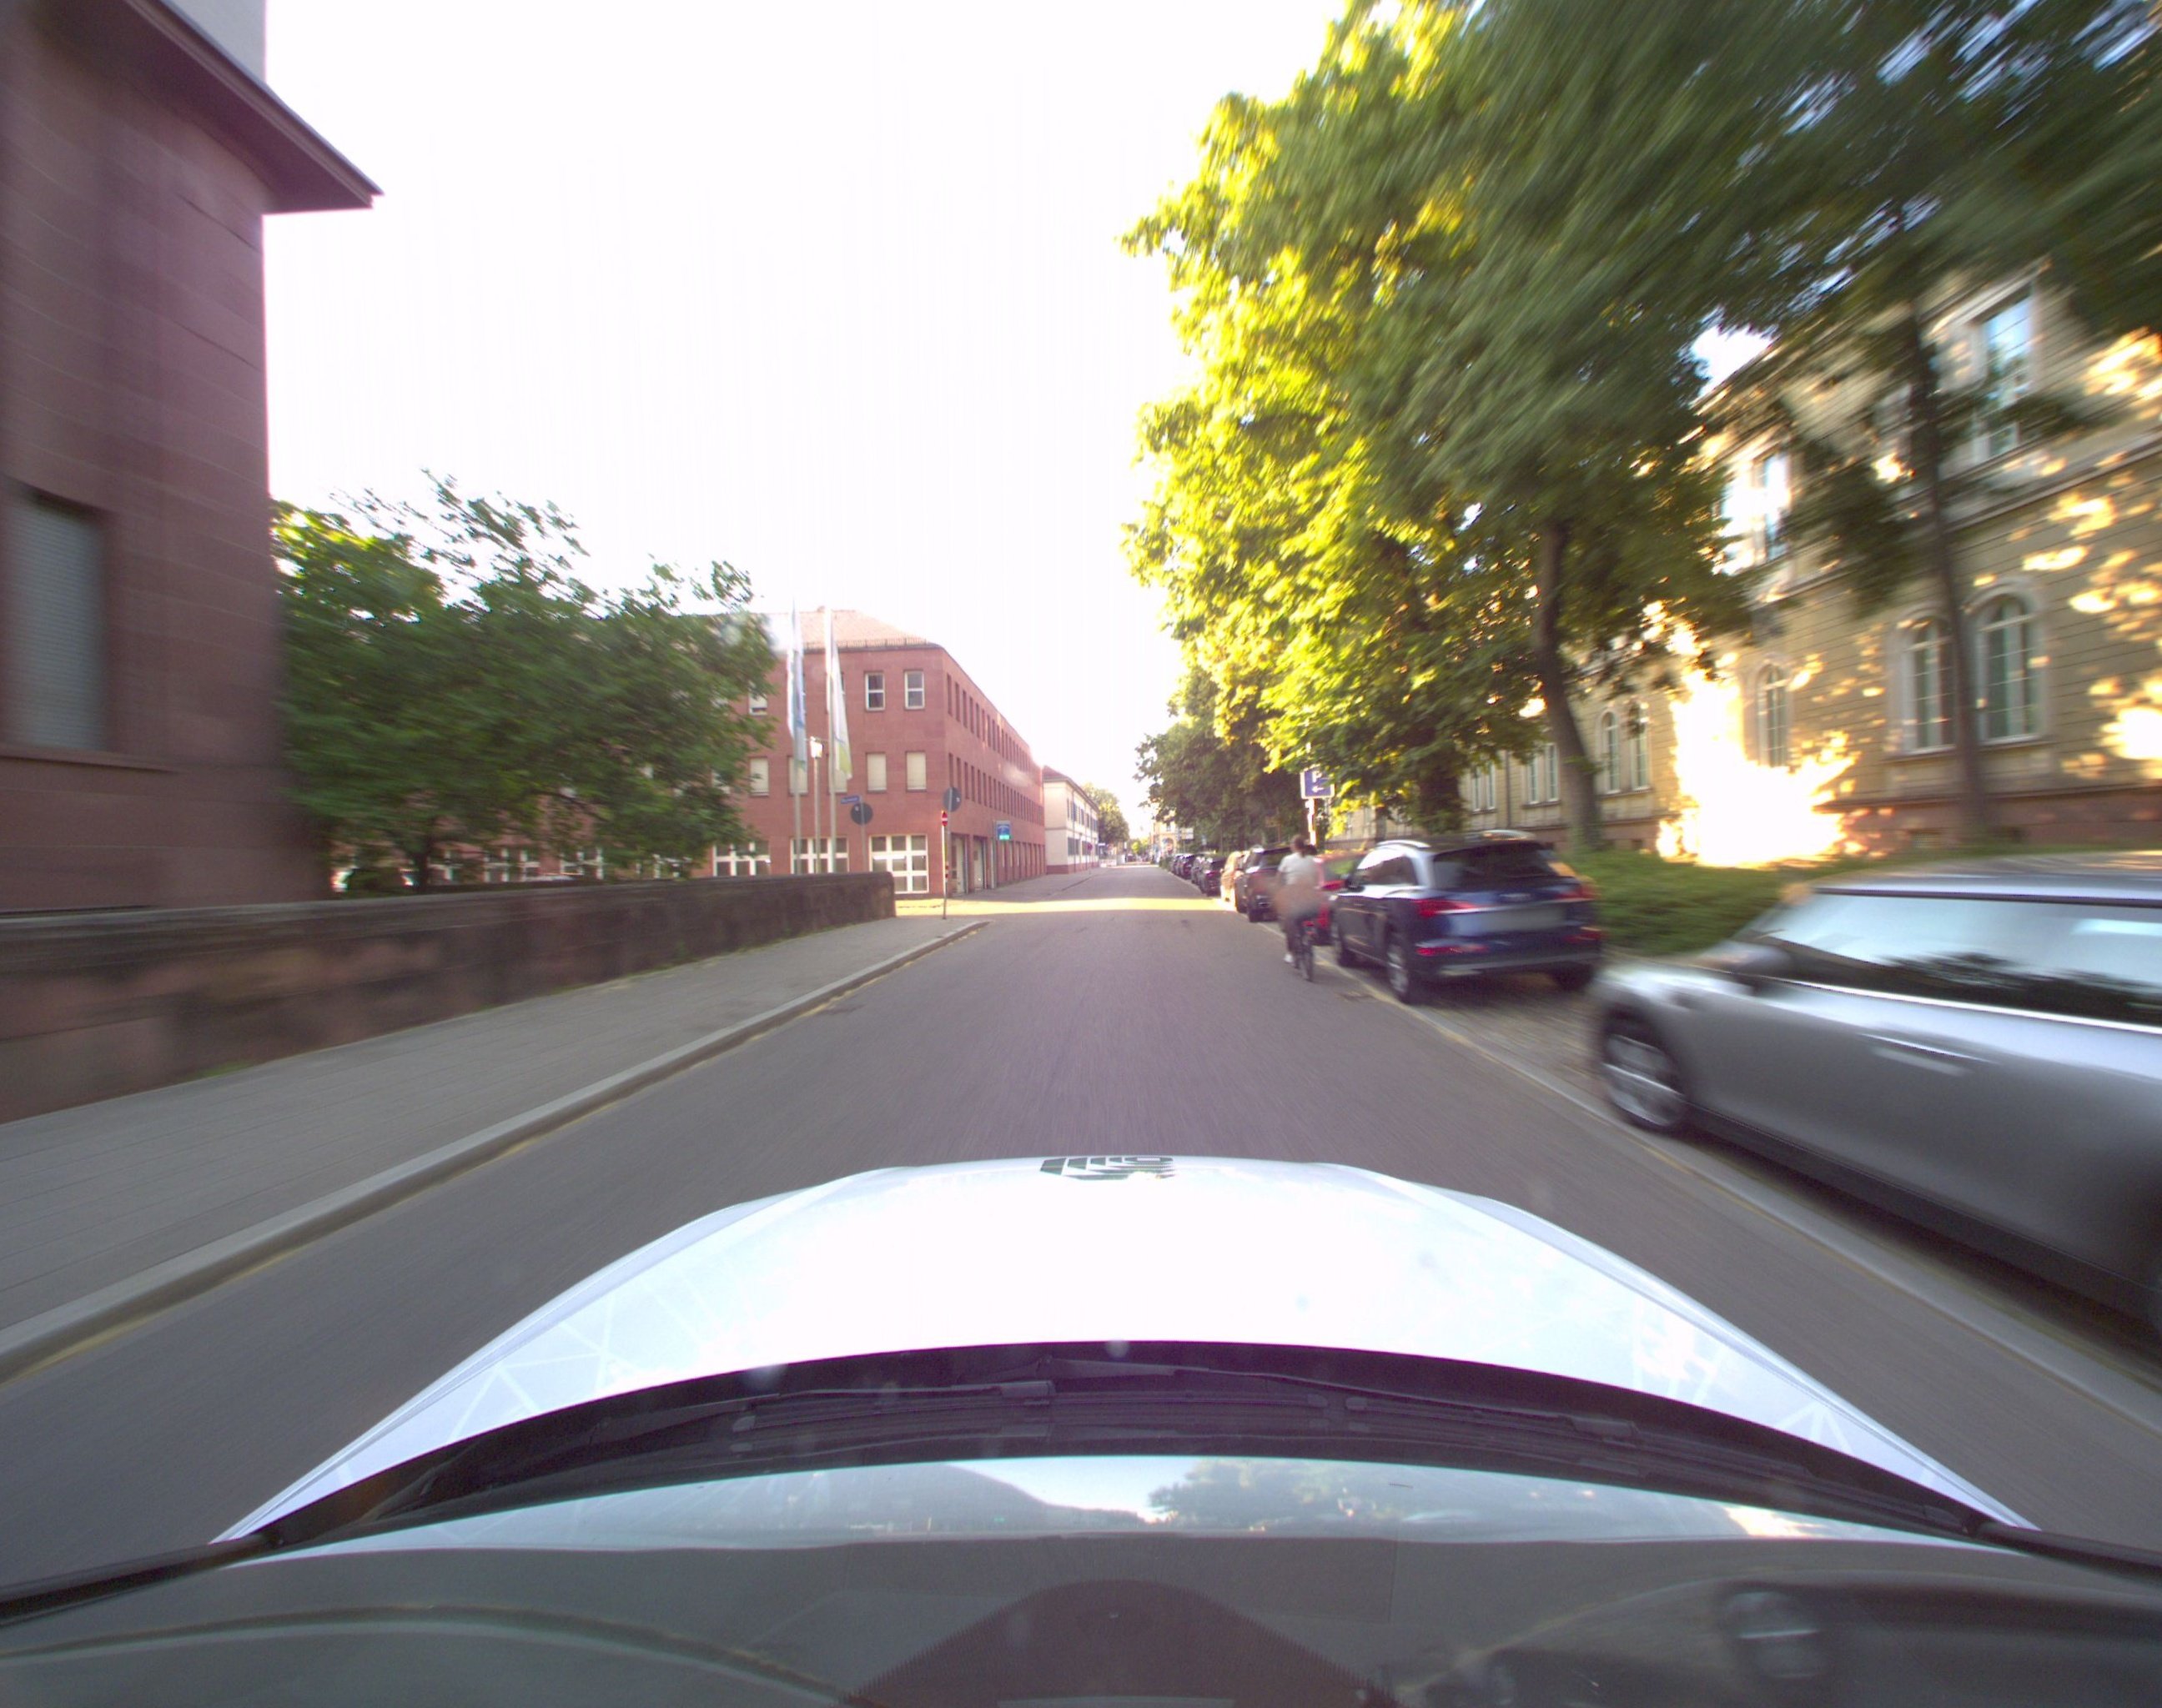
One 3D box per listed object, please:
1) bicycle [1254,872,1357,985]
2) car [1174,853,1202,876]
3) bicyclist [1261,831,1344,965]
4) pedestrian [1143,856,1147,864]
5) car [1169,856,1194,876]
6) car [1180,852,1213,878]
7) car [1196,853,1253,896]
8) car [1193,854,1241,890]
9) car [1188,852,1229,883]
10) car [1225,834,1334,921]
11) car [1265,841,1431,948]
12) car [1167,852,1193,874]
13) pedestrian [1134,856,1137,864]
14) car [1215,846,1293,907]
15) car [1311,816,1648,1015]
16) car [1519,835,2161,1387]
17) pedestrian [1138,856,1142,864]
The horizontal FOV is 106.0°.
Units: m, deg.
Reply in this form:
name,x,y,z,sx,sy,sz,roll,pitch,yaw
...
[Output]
name,x,y,z,sx,sy,sz,roll,pitch,yaw
bicycle,2.858,0.894,10.637,0.748,1.253,2.211,-2,0,2
car,7.757,0.792,59.537,1.716,1.538,4.193,-2,-1,4
bicyclist,2.830,0.537,10.498,0.748,1.612,1.039,-2,0,1
pedestrian,13.565,1.284,172.135,0.654,1.617,0.746,-2,-1,4
car,8.774,1.055,71.589,1.717,1.488,4.613,-5,-1,3
car,7.709,0.751,54.499,1.799,1.651,4.422,-2,-1,4
car,5.707,0.816,32.820,1.716,1.534,4.627,-2,-1,4
car,6.271,0.830,37.884,1.716,1.534,4.193,-2,-1,4
car,6.717,0.726,43.319,1.727,1.506,4.526,-2,-1,4
car,4.735,0.565,20.122,1.796,1.813,4.953,-2,-1,5
car,4.580,0.664,14.582,1.717,1.589,3.970,-2,-1,2
car,7.958,0.764,65.689,1.716,1.651,4.717,-2,-1,4
pedestrian,11.719,1.255,174.729,0.654,1.760,0.746,-2,-1,5
car,5.360,0.686,25.697,1.716,1.682,4.503,-2,-1,4
car,4.176,0.593,9.558,1.873,1.687,4.700,-2,-1,4
car,3.714,0.673,3.344,1.717,1.438,4.001,-2,-1,2
pedestrian,12.678,1.288,174.709,0.654,1.636,0.746,-2,-1,4
